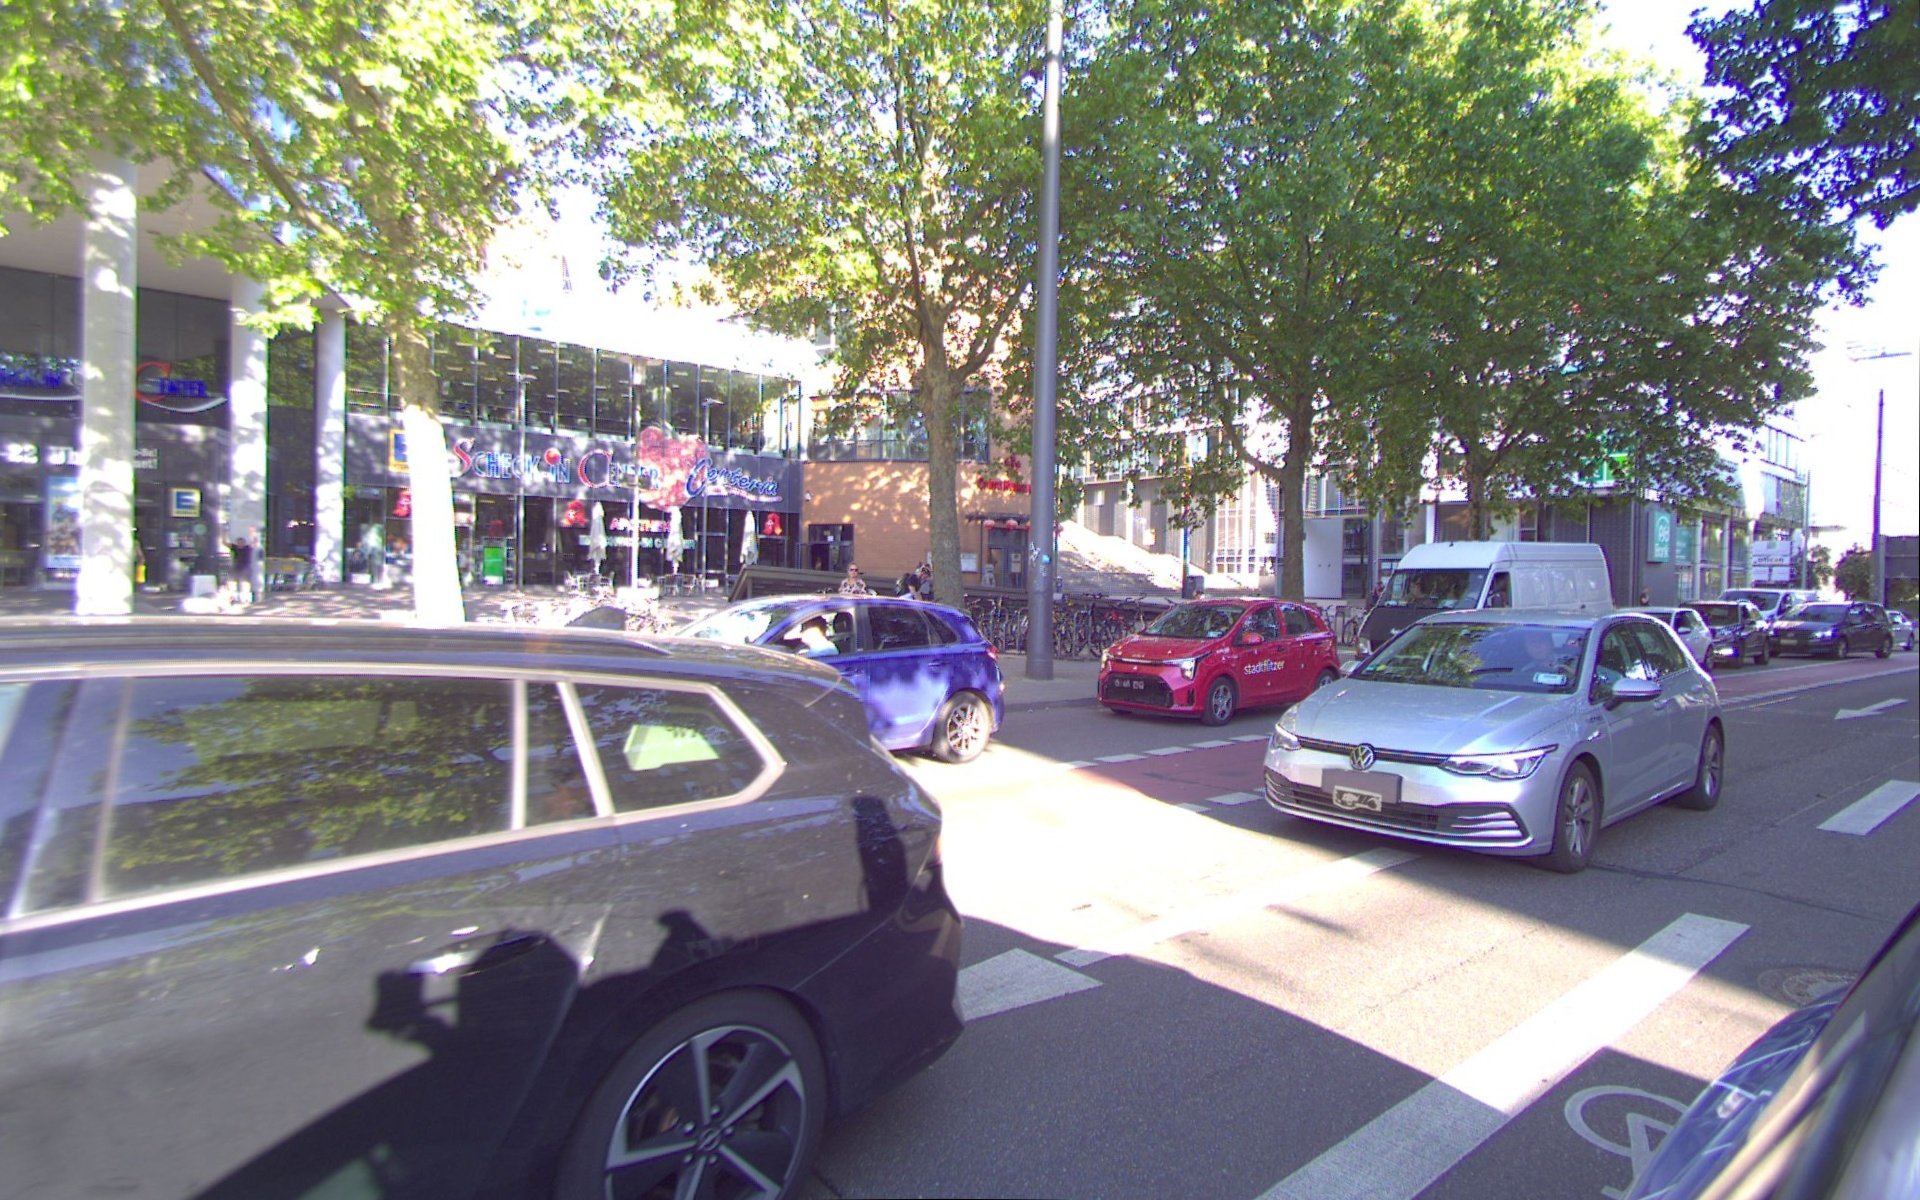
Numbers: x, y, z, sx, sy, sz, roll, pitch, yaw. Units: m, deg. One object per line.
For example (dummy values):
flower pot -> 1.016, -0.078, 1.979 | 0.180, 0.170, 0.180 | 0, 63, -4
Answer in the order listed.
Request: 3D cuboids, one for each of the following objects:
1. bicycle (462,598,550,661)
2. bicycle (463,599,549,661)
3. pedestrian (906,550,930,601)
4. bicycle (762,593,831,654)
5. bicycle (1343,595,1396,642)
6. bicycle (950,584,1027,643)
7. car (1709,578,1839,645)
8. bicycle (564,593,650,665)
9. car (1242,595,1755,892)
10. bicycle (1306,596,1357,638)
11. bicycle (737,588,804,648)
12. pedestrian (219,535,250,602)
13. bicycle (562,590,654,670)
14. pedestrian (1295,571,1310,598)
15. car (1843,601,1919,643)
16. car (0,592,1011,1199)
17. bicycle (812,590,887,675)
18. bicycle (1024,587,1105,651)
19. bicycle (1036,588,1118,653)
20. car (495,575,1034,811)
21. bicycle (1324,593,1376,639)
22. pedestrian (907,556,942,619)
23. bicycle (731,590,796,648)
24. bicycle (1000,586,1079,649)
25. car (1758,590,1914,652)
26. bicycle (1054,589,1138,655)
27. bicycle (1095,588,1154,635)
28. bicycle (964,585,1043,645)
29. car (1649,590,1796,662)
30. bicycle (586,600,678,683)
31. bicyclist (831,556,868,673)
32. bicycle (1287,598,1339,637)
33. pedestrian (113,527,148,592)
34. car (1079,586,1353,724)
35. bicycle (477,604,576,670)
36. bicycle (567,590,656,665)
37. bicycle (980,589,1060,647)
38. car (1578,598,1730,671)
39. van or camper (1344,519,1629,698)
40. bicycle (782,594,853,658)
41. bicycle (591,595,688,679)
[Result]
bicycle -> -6.959, 0.452, 15.544 | 1.198, 0.930, 0.442 | 1, 1, -22
bicycle -> -7.121, 0.461, 15.922 | 1.198, 0.938, 0.465 | 1, 1, -22
pedestrian -> -1.708, -1.000, 41.292 | 0.575, 2.062, 0.876 | 1, 1, -35
bicycle -> -3.045, 0.424, 18.896 | 1.202, 1.110, 0.427 | 0, 1, -40
bicycle -> 11.033, 0.476, 27.233 | 1.818, 1.209, 0.521 | 0, 2, -41
bicycle -> 0.637, 0.270, 21.702 | 1.818, 1.209, 0.434 | 0, 1, -41
car -> 26.466, 0.343, 32.855 | 4.863, 2.020, 1.968 | 0, 1, -35
bicycle -> -5.727, 0.449, 16.453 | 0.414, 1.110, 1.269 | 2, 1, 41
car -> 3.822, 0.705, 6.916 | 3.928, 1.458, 1.733 | 0, 0, -39
bicycle -> 10.310, 0.465, 28.044 | 1.766, 1.108, 0.522 | 0, 2, -41
bicycle -> -3.643, 0.342, 19.506 | 1.202, 1.110, 0.444 | 0, 1, -40
pedestrian -> -18.775, -0.809, 26.194 | 0.506, 1.707, 0.604 | 1, 1, -23
bicycle -> -5.158, 0.422, 14.841 | 1.202, 1.110, 0.396 | 0, 1, -40
pedestrian -> 20.030, -0.923, 59.176 | 0.707, 1.578, 0.638 | 1, 1, 14
car -> 33.521, 0.748, 36.517 | 3.927, 1.394, 1.802 | 0, 2, -38
car -> -2.010, 0.699, 1.956 | 4.196, 1.432, 1.742 | 0, 0, -41
bicycle -> -1.704, 0.484, 15.689 | 1.126, 1.271, 0.379 | 0, 1, -41
bicycle -> 2.110, 0.361, 20.260 | 1.818, 1.209, 0.484 | 0, 2, -41
bicycle -> 2.298, 0.386, 19.751 | 1.818, 1.209, 0.448 | 0, 1, -41
car -> -1.468, 0.582, 8.576 | 4.177, 1.503, 1.742 | 0, 2, -41
bicycle -> 10.666, 0.431, 27.631 | 1.818, 1.209, 0.495 | 0, 2, -41
pedestrian -> -1.039, -0.369, 29.676 | 0.868, 1.805, 0.604 | 1, 1, -18
bicycle -> -3.888, 0.371, 20.050 | 1.202, 1.110, 0.429 | 0, 1, -40
bicycle -> 1.629, 0.337, 20.521 | 1.818, 1.209, 0.447 | 0, 1, -41
car -> 25.261, 0.579, 29.170 | 4.242, 1.640, 1.970 | 0, 1, -28
bicycle -> 2.621, 0.397, 19.365 | 1.818, 1.209, 0.481 | 0, 2, -41
bicycle -> 4.403, 0.304, 27.052 | 1.759, 1.209, 0.517 | 0, 2, -41
bicycle -> 0.935, 0.295, 21.349 | 1.818, 1.209, 0.458 | 0, 1, -41
car -> 19.026, 0.590, 25.191 | 4.148, 1.640, 1.819 | 0, 1, -36
bicycle -> -4.581, 0.563, 14.182 | 1.202, 1.110, 0.269 | 0, 1, -40
bicyclist -> -1.717, 0.221, 15.719 | 0.392, 1.782, 0.390 | 0, 1, -41
bicycle -> 9.926, 0.483, 28.454 | 1.818, 1.046, 0.515 | 0, 2, -41
pedestrian -> -22.637, -1.099, 27.629 | 0.705, 1.728, 0.806 | 0, 1, -37
car -> 3.322, 0.588, 12.816 | 3.588, 1.476, 1.605 | 0, 1, -41
bicycle -> -6.239, 0.517, 14.598 | 1.231, 0.898, 0.462 | 0, 1, -40
bicycle -> -5.360, 0.404, 15.590 | 0.372, 1.110, 1.269 | 2, 1, 41
bicycle -> 1.256, 0.350, 20.969 | 1.818, 1.139, 0.484 | 0, 2, -41
car -> 15.314, 0.685, 22.275 | 3.927, 1.446, 1.683 | 0, 1, -38
van or camper -> 9.315, 0.109, 17.557 | 6.456, 2.611, 1.998 | 0, 0, -39
bicycle -> -2.536, 0.449, 18.053 | 1.202, 1.110, 0.400 | 0, 1, -40
bicycle -> -4.400, 0.489, 13.929 | 1.202, 1.110, 0.413 | 0, 1, -40
